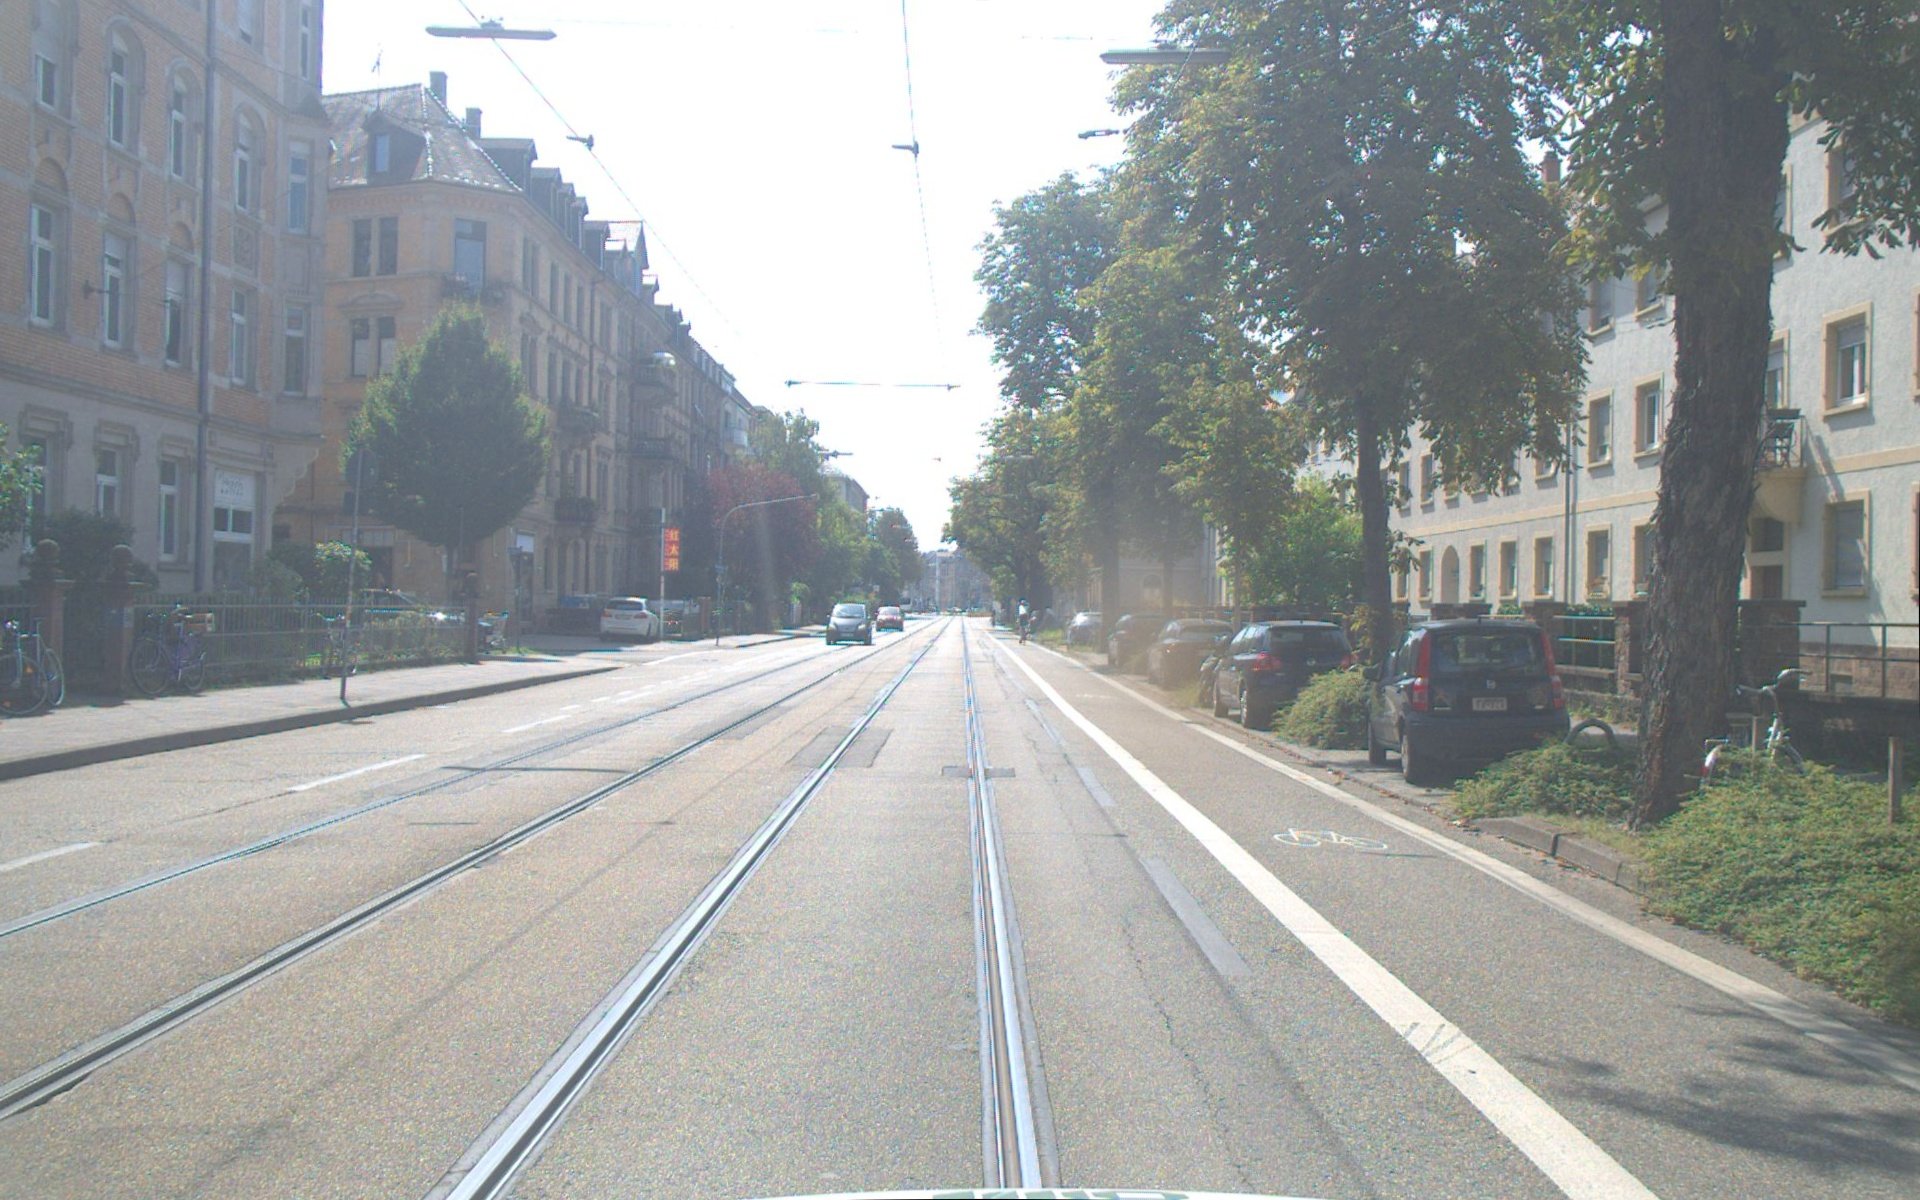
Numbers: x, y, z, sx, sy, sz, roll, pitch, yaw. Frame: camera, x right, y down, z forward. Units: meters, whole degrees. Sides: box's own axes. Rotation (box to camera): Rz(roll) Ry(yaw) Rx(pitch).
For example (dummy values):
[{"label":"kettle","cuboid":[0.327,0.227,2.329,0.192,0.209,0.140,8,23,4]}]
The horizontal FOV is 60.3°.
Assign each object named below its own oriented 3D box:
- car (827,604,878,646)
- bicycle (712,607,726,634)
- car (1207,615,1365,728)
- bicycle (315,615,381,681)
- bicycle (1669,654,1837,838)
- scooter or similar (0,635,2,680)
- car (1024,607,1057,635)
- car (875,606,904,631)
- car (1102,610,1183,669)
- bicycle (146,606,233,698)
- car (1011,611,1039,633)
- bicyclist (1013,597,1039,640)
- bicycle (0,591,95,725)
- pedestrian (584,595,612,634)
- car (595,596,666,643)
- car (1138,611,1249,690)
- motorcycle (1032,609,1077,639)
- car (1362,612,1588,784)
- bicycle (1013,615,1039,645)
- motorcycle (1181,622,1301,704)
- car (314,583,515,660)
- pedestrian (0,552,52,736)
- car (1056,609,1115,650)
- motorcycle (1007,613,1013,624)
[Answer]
[{"label":"car","cuboid":[-4.275,0.975,66.075,1.790,1.567,4.000,0,0,-1]},{"label":"bicycle","cuboid":[-10.249,0.871,70.271,0.382,1.118,1.568,1,0,-2]},{"label":"car","cuboid":[4.801,1.003,24.823,1.584,1.503,4.039,0,0,0]},{"label":"bicycle","cuboid":[-10.325,0.791,27.964,0.382,1.056,1.833,1,0,1]},{"label":"bicycle","cuboid":[5.234,0.930,10.892,1.377,1.128,0.384,1,0,-36]},{"label":"scooter or similar","cuboid":[-9.518,0.828,15.808,0.392,0.999,0.583,2,-1,-8]},{"label":"car","cuboid":[4.992,1.282,103.353,1.803,1.559,4.115,1,1,0]},{"label":"car","cuboid":[-4.494,1.149,105.650,1.696,1.516,4.000,0,0,-1]},{"label":"car","cuboid":[5.030,1.069,46.116,1.720,1.503,4.385,1,0,-1]},{"label":"bicycle","cuboid":[-10.293,0.671,22.134,0.382,1.168,1.582,1,0,1]},{"label":"car","cuboid":[4.630,1.565,118.536,1.803,1.559,4.779,0,0,0]},{"label":"bicyclist","cuboid":[2.930,0.815,73.696,1.102,1.869,0.956,1,-1,1]},{"label":"bicycle","cuboid":[-10.329,0.615,18.537,0.382,1.430,1.582,1,0,1]},{"label":"pedestrian","cuboid":[-14.754,0.595,67.424,0.874,1.537,0.861,1,0,-31]},{"label":"car","cuboid":[-12.050,0.704,60.719,1.954,1.622,4.356,1,0,-4]},{"label":"car","cuboid":[4.953,1.040,35.625,1.719,1.503,4.457,-3,-1,0]},{"label":"motorcycle","cuboid":[4.990,1.292,87.602,2.304,1.567,0.963,-2,-3,42]},{"label":"car","cuboid":[5.159,0.911,16.977,1.582,1.557,3.501,0,0,6]},{"label":"bicycle","cuboid":[2.932,1.339,73.852,1.124,1.291,2.712,1,0,2]},{"label":"motorcycle","cuboid":[4.956,1.103,29.237,1.963,1.392,0.782,1,0,-3]},{"label":"car","cuboid":[-12.703,0.492,38.693,4.017,1.622,1.879,2,0,1]},{"label":"pedestrian","cuboid":[-9.767,0.419,16.530,0.865,1.786,0.870,1,0,0]},{"label":"car","cuboid":[4.840,1.121,64.298,1.854,1.503,4.840,1,0,0]},{"label":"motorcycle","cuboid":[5.250,1.929,172.825,0.537,1.086,2.330,1,-1,0]}]
